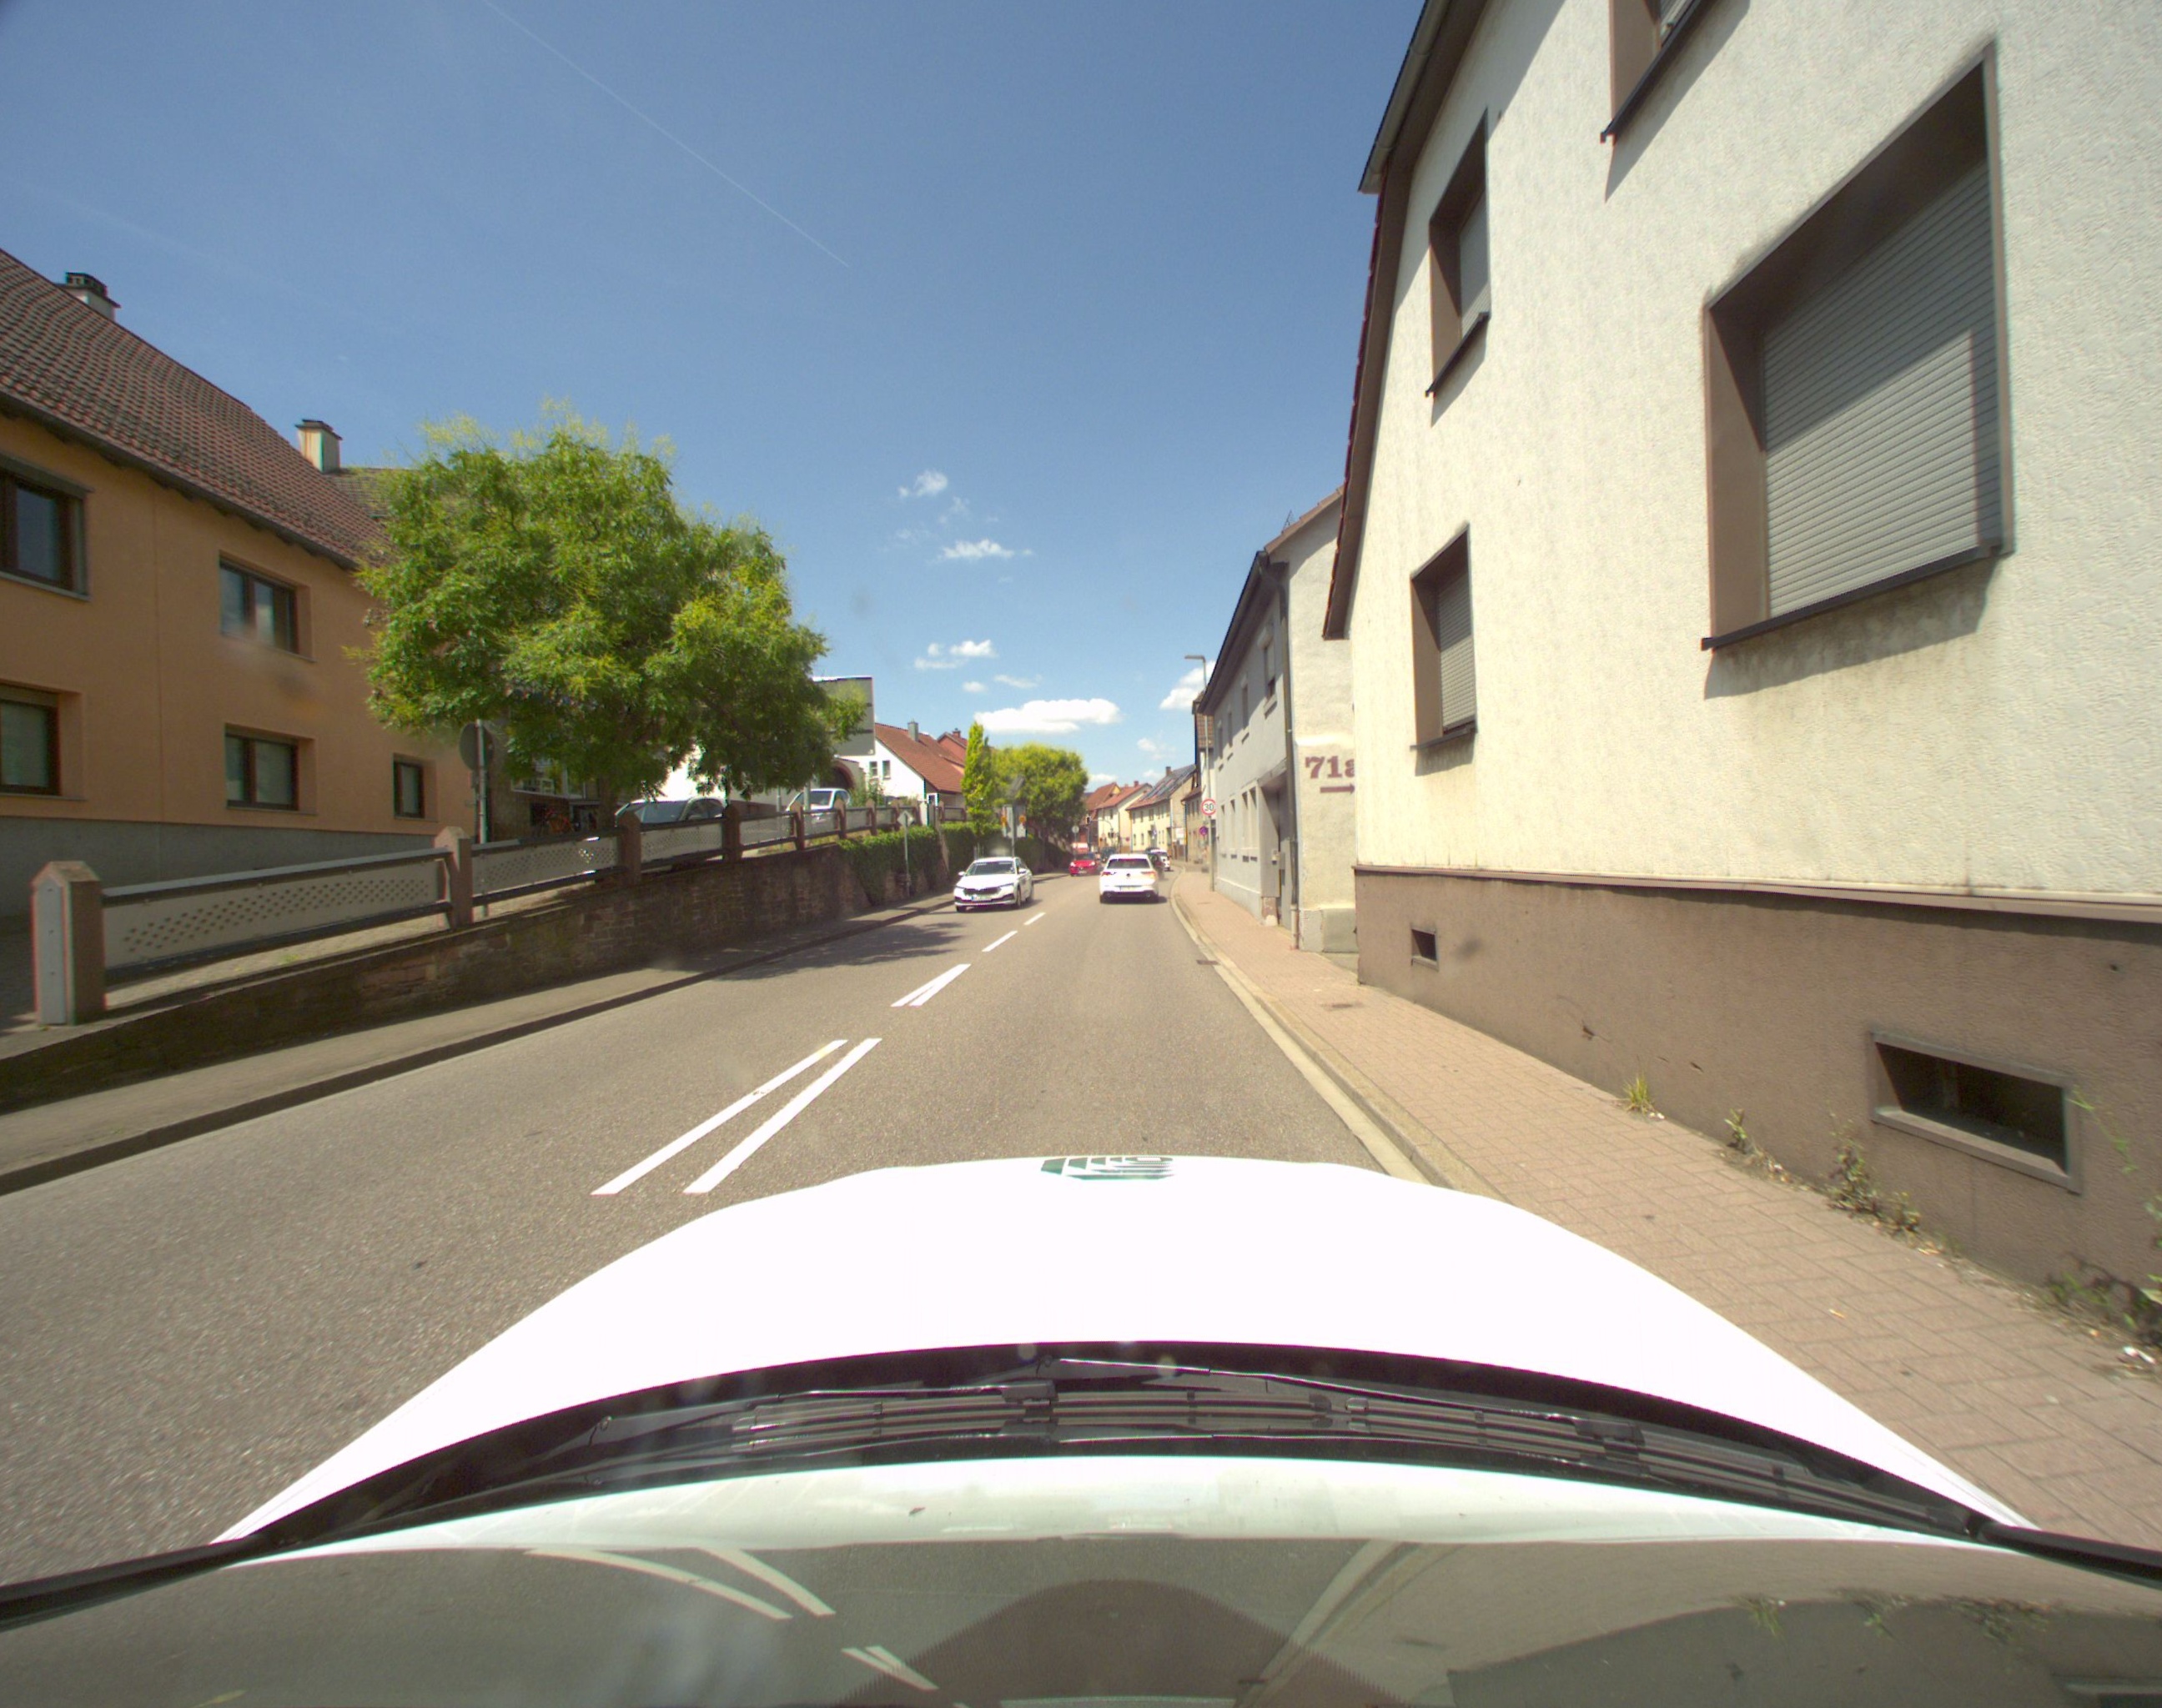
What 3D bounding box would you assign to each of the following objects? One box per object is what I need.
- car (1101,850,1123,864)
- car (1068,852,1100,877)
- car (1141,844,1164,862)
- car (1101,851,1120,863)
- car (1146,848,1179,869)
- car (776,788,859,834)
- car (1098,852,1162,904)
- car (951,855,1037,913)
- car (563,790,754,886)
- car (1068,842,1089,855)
[{"bbox_3d":[3.178,0.261,82.976,1.784,1.377,4.125,-1,0,8],"label":"car"},{"bbox_3d":[0.250,0.660,51.834,1.609,1.444,3.807,-3,0,6],"label":"car"},{"bbox_3d":[6.651,-0.103,75.832,1.769,1.538,4.001,-1,0,1],"label":"car"},{"bbox_3d":[3.750,0.385,104.381,1.775,1.538,3.988,-2,0,-9],"label":"car"},{"bbox_3d":[5.831,0.306,57.798,1.795,1.467,4.014,0,0,13],"label":"car"},{"bbox_3d":[-8.971,-1.532,28.052,1.572,1.361,3.857,-1,6,0],"label":"car"},{"bbox_3d":[1.454,0.688,25.169,1.801,1.467,4.001,0,0,2],"label":"car"},{"bbox_3d":[-2.456,0.809,24.018,1.806,1.446,4.432,-3,0,2],"label":"car"},{"bbox_3d":[-8.124,-0.428,16.121,1.688,1.542,3.857,-1,6,0],"label":"car"},{"bbox_3d":[-0.431,-0.780,117.970,1.781,1.765,3.973,-2,0,-20],"label":"car"}]
